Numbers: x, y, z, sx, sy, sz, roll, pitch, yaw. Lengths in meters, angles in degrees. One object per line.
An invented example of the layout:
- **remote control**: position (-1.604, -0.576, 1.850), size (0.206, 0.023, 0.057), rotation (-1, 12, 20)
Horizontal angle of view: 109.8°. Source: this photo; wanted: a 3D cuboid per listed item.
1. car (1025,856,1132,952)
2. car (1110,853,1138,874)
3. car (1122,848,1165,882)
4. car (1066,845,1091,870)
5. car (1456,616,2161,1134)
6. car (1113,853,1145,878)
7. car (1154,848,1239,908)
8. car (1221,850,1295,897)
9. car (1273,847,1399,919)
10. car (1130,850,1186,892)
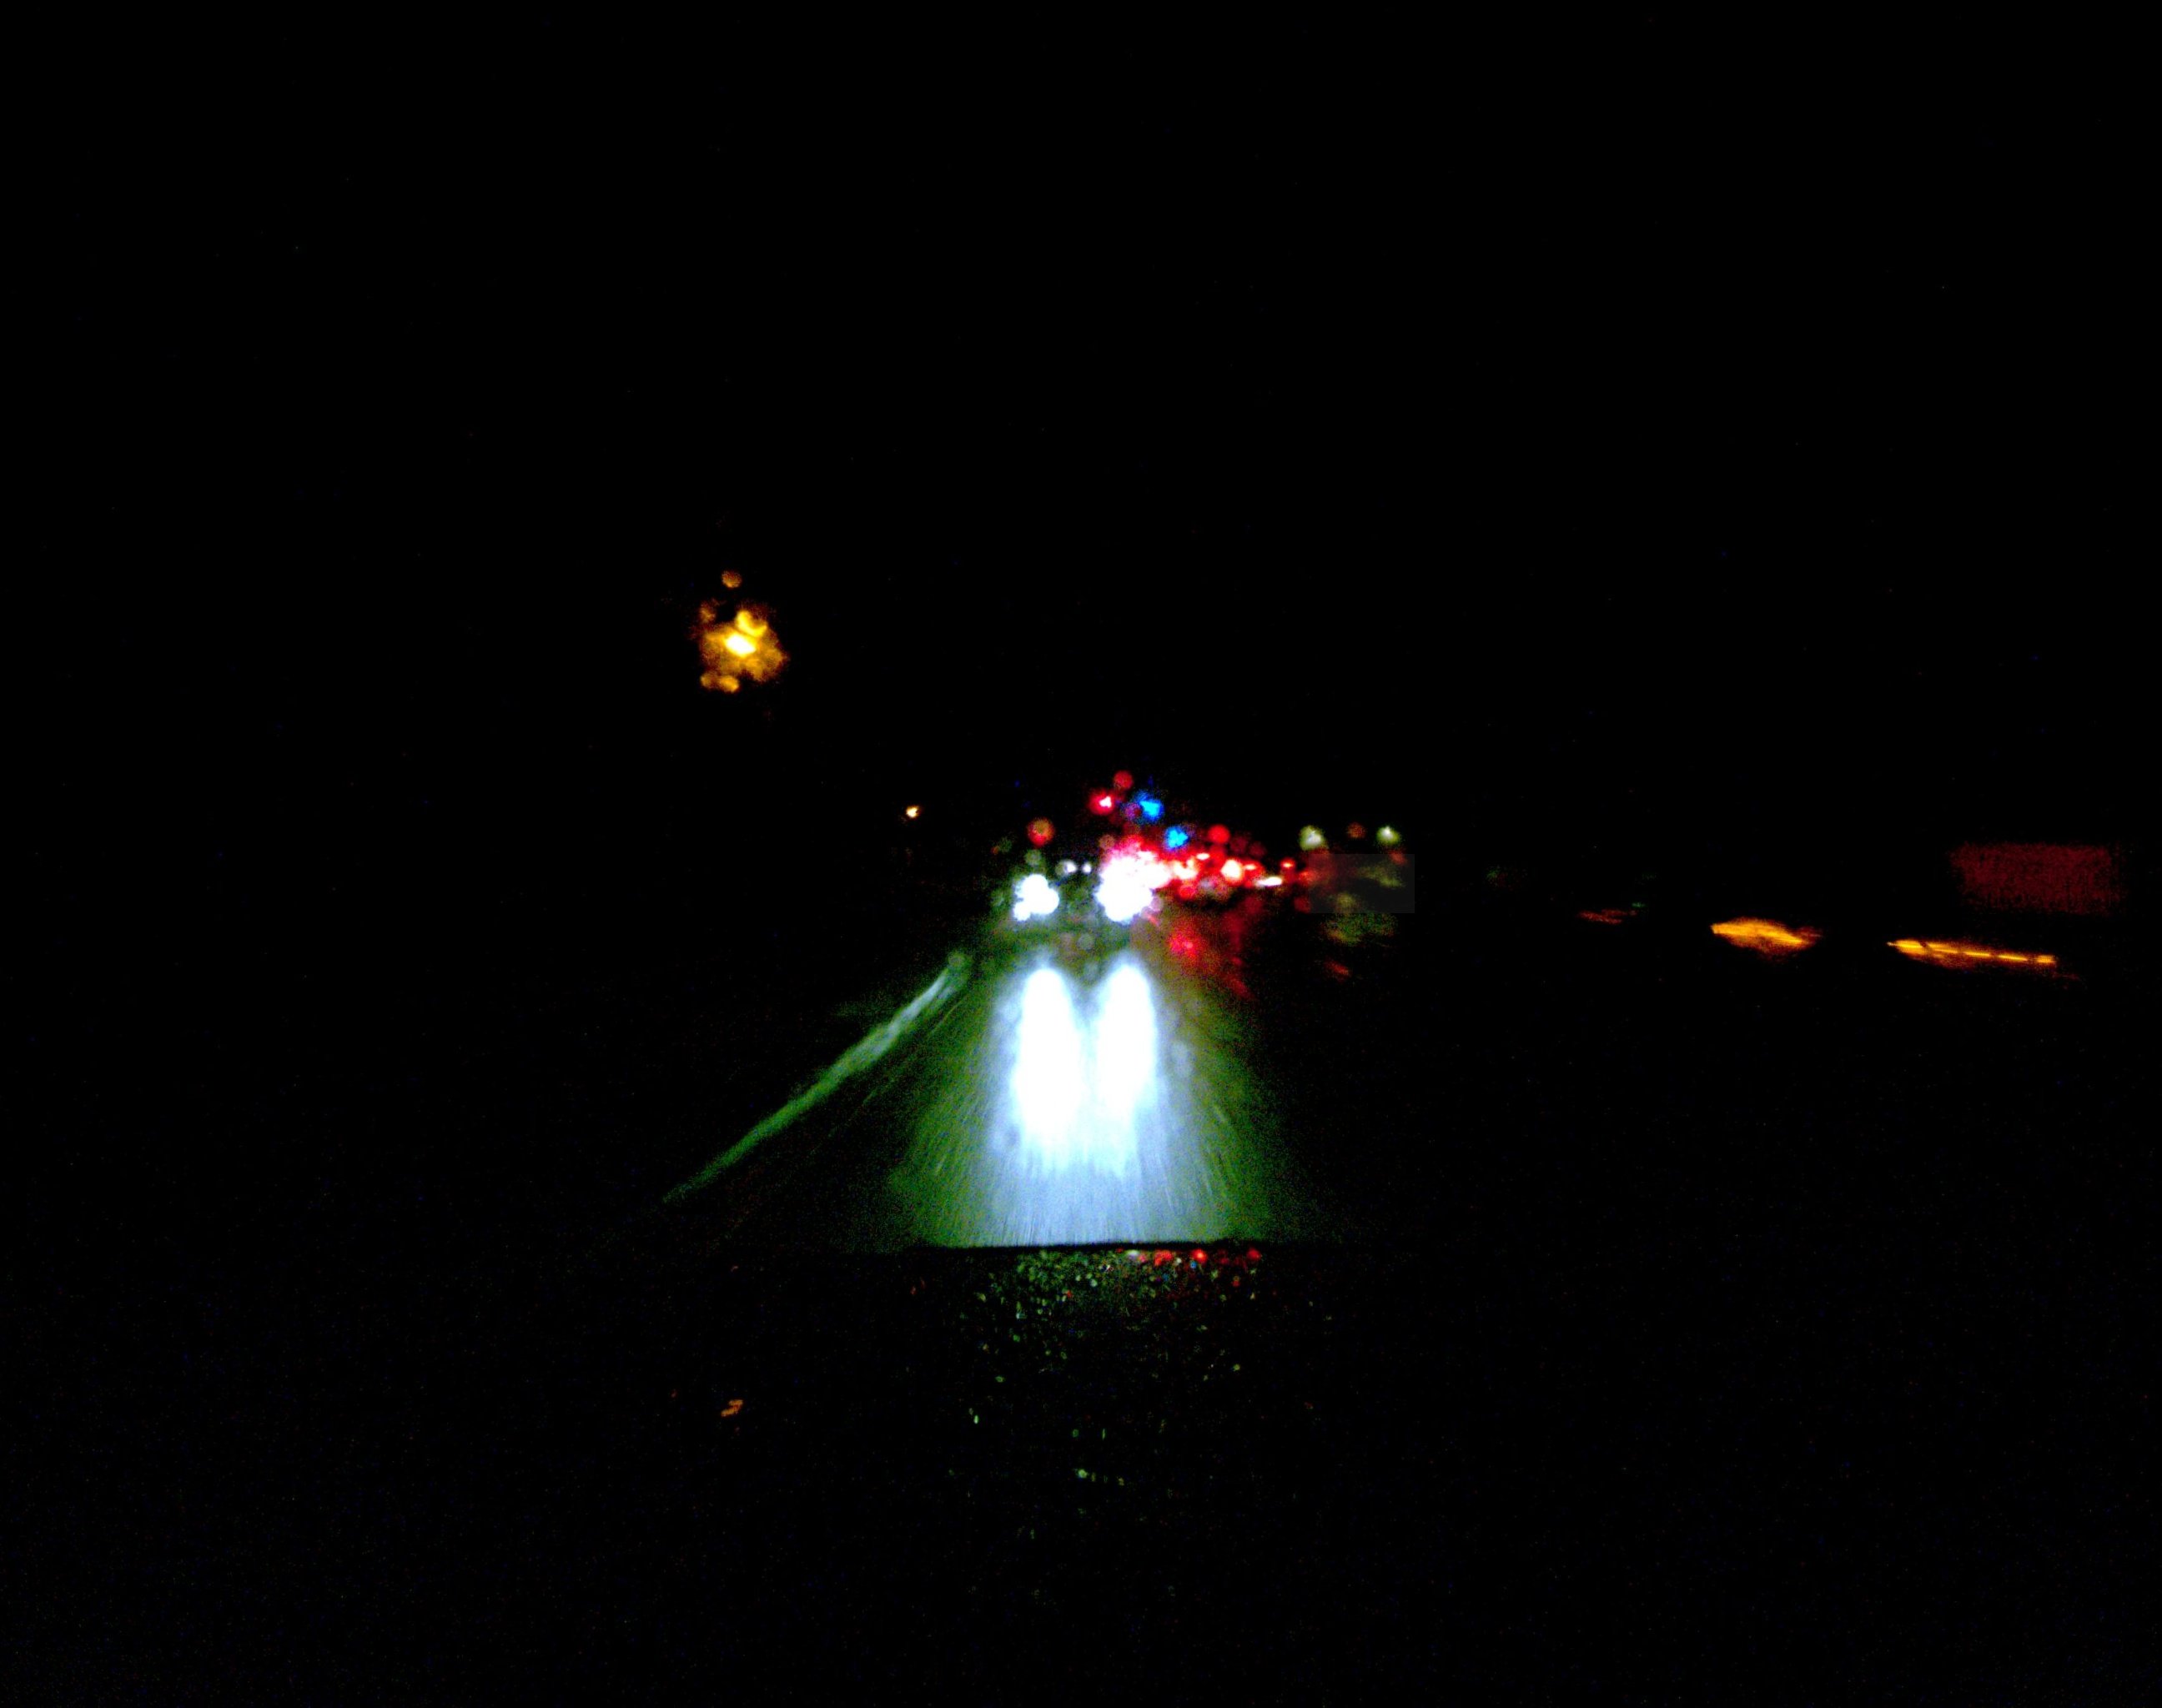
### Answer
- **car**: position (-0.065, 0.862, 15.422), size (1.810, 1.590, 4.786), rotation (-1, 0, -1)
- **car**: position (3.075, 0.664, 55.206), size (1.673, 1.464, 3.632), rotation (-2, 0, -2)
- **car**: position (3.261, 0.537, 40.272), size (1.849, 1.659, 4.445), rotation (-2, 0, 0)
- **car**: position (-0.178, 0.278, 58.974), size (1.759, 1.807, 4.710), rotation (-3, 0, 1)
- **car**: position (6.147, 0.078, 7.096), size (2.128, 2.692, 6.239), rotation (-2, 0, 0)
- **car**: position (3.039, 0.706, 48.807), size (1.626, 1.464, 3.884), rotation (-2, 0, -2)
- **car**: position (3.464, 0.674, 23.602), size (1.810, 1.620, 4.415), rotation (-2, 0, -1)
- **car**: position (6.231, 0.635, 27.138), size (1.724, 1.499, 3.827), rotation (-2, 0, 0)
- **car**: position (6.324, 0.655, 19.356), size (1.724, 1.579, 4.311), rotation (-2, 0, 0)
- **car**: position (3.118, 0.639, 31.581), size (1.848, 1.565, 4.596), rotation (-2, 0, 0)
